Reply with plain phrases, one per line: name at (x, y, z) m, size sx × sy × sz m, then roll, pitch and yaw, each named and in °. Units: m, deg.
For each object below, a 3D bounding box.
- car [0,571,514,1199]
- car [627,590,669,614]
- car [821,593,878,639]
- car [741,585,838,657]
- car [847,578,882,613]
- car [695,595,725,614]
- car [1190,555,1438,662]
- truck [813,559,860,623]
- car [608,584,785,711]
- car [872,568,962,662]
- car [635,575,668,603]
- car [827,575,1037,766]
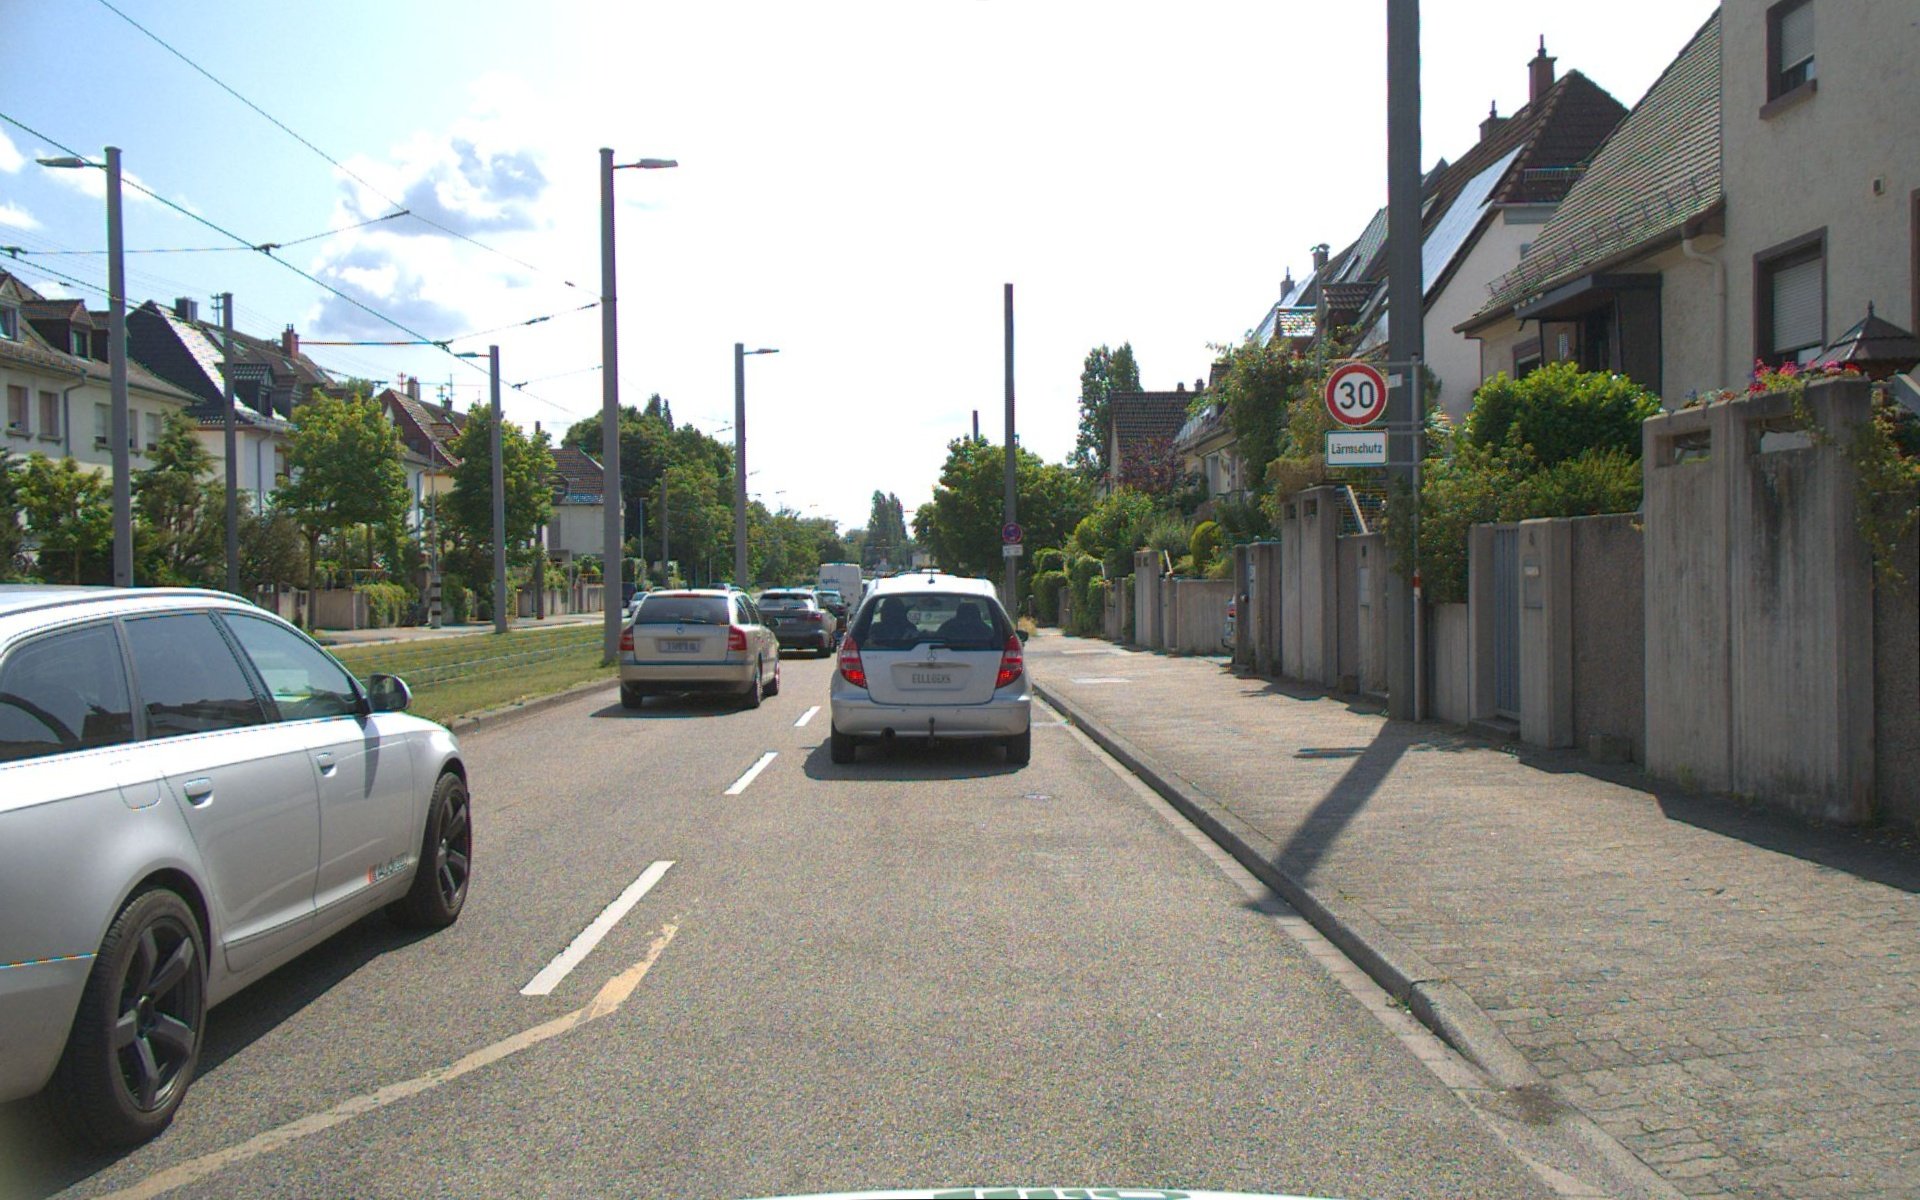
car at (-2.989, 0.670, 5.544) m, size 1.758 × 1.497 × 4.721 m, roll 0°, pitch 0°, yaw -1°
car at (-20.599, 0.096, 109.265) m, size 1.877 × 1.503 × 4.562 m, roll 1°, pitch 1°, yaw 0°
car at (-3.632, 0.502, 54.961) m, size 1.815 × 1.412 × 4.511 m, roll 1°, pitch 0°, yaw -3°
car at (-3.781, 0.420, 37.433) m, size 1.878 × 1.503 × 4.560 m, roll 1°, pitch 1°, yaw -2°
car at (-5.937, -0.274, 103.300) m, size 1.877 × 2.113 × 4.562 m, roll 1°, pitch 0°, yaw 0°
car at (-21.763, 0.387, 144.281) m, size 1.877 × 1.503 × 4.562 m, roll 1°, pitch 1°, yaw 0°
car at (6.294, 0.134, 29.710) m, size 3.909 × 1.713 × 1.998 m, roll -2°, pitch 0°, yaw -5°
truck at (-5.263, -0.393, 71.025) m, size 1.815 × 2.597 × 5.851 m, roll 1°, pitch 0°, yaw -3°
car at (-3.306, 0.550, 21.480) m, size 1.696 × 1.474 × 4.122 m, roll 1°, pitch 0°, yaw -1°
car at (-0.932, 0.282, 34.136) m, size 1.695 × 1.793 × 4.014 m, roll 1°, pitch 0°, yaw -4°
car at (-26.589, -0.986, 142.731) m, size 1.877 × 2.371 × 4.562 m, roll 1°, pitch 0°, yaw 0°
car at (-0.311, 0.564, 15.515) m, size 1.695 × 1.543 × 4.014 m, roll 1°, pitch 0°, yaw -2°
